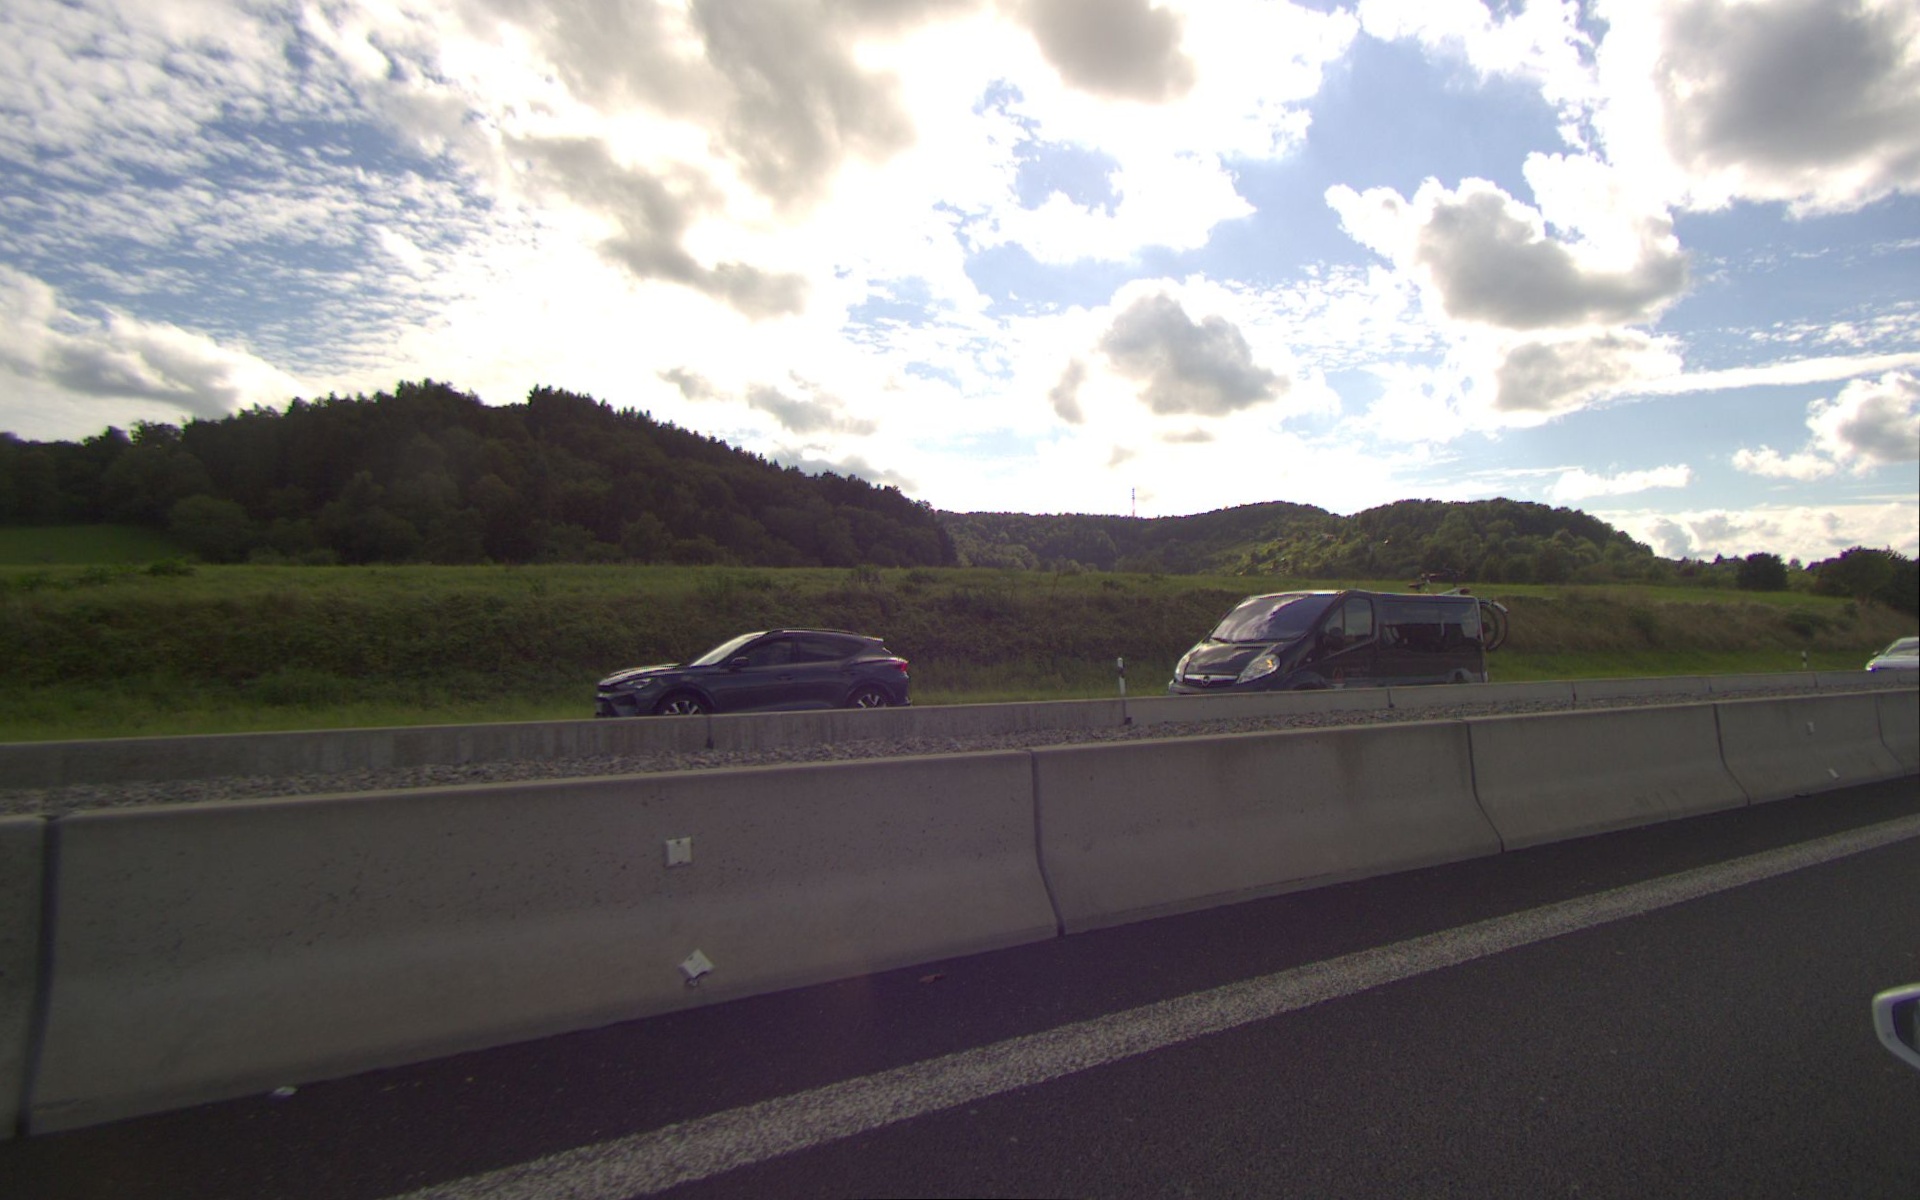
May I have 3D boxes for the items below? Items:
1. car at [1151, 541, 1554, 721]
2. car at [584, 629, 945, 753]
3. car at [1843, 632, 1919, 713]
[{"bbox_3d":[5.473,0.448,13.712,5.772,2.040,1.984,2,-3,-30],"label":"car"},{"bbox_3d":[-2.706,1.189,14.203,4.637,1.498,1.984,2,-3,-30],"label":"car"},{"bbox_3d":[26.285,1.925,27.397,4.623,2.040,1.984,1,-1,-30],"label":"car"}]
